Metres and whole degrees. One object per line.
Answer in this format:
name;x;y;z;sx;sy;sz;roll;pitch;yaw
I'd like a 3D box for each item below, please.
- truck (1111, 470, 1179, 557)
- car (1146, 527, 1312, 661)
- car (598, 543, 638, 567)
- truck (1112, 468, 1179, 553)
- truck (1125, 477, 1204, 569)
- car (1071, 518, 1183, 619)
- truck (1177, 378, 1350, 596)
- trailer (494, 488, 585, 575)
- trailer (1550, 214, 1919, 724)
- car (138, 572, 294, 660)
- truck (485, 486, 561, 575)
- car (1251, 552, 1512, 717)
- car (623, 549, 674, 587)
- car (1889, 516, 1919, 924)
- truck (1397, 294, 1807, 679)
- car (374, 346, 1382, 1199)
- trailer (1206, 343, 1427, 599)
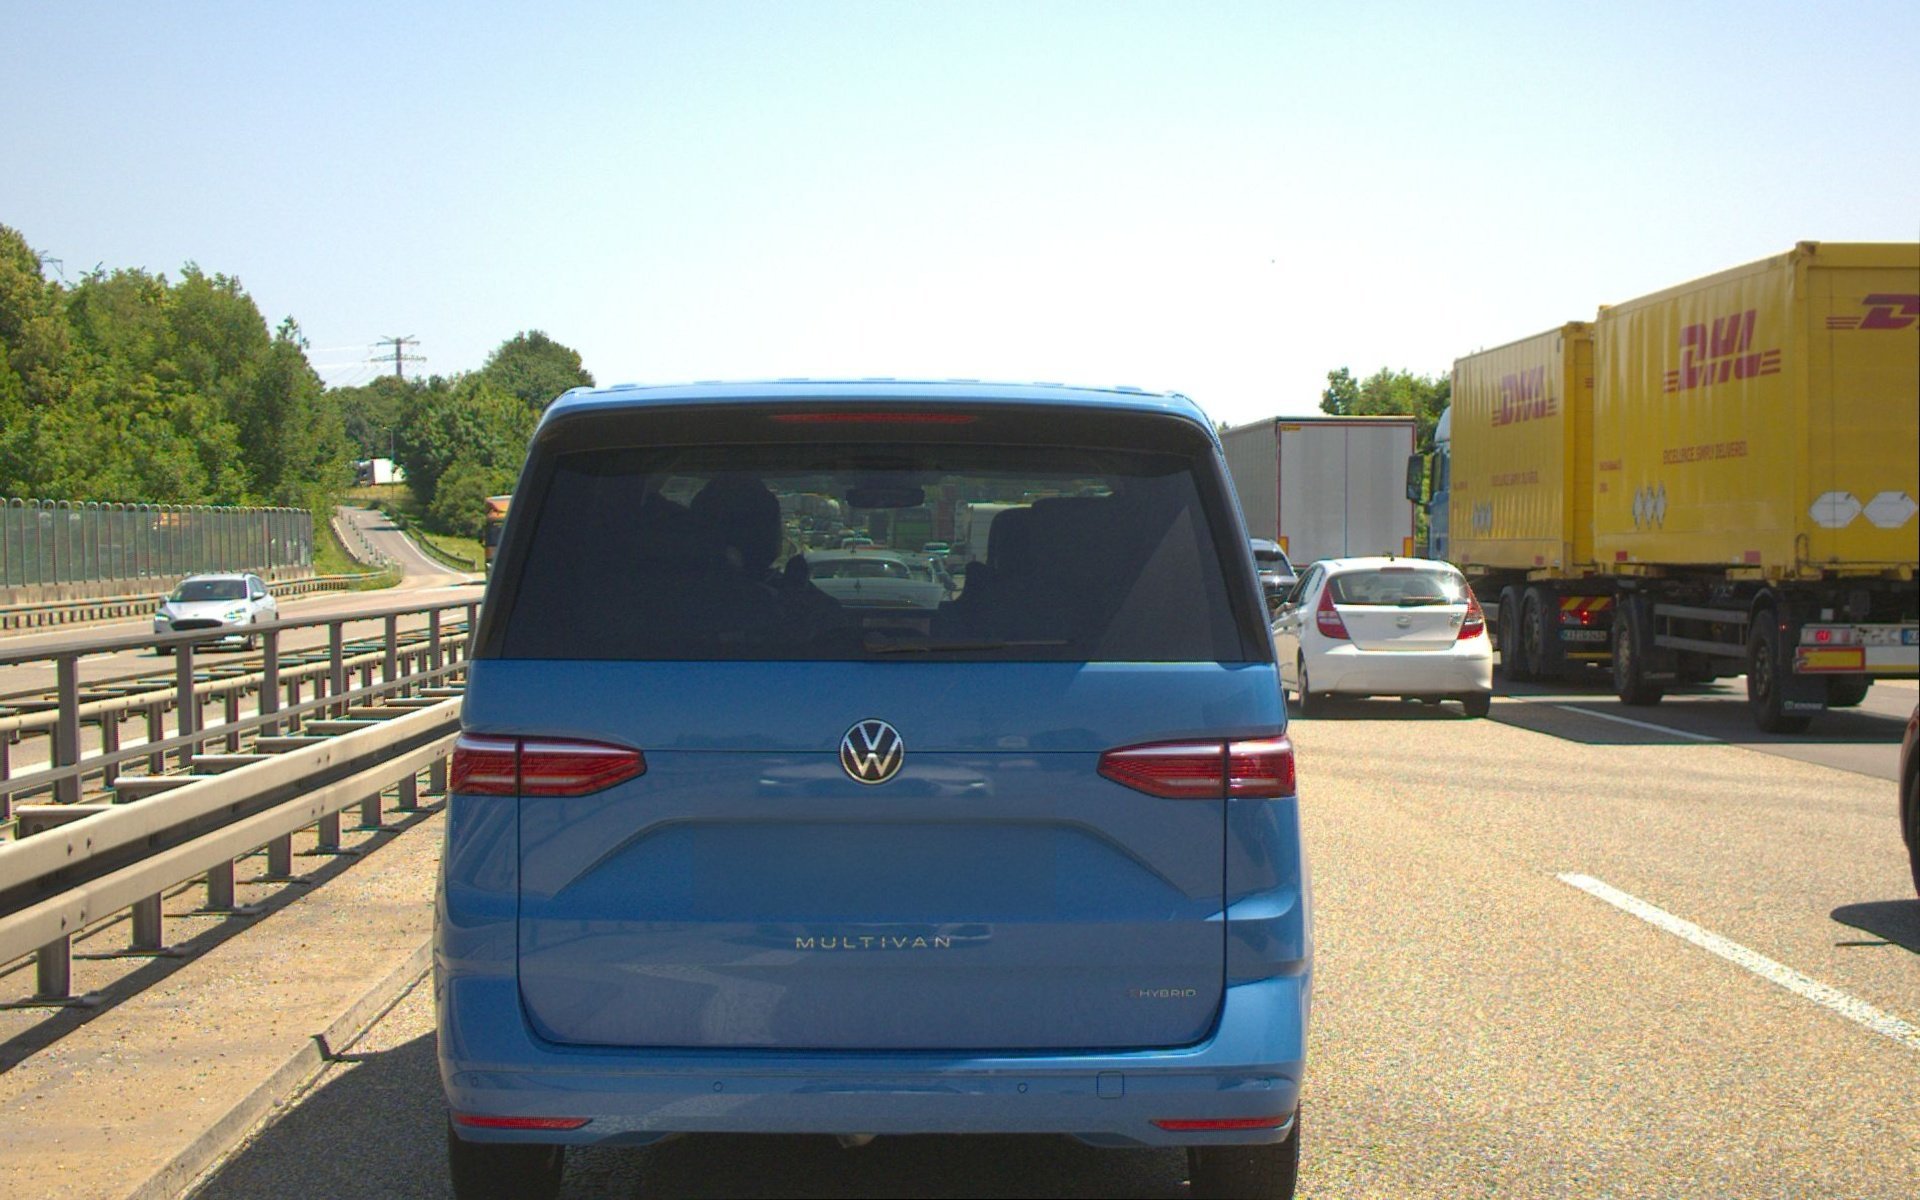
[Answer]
truck;5.556;-2.577;103.687;1.742;2.540;4.210;1;0;-1
car;3.525;-0.091;45.690;1.815;1.673;3.932;1;0;-1
car;-19.451;-2.558;195.690;1.689;1.299;4.012;-3;0;2
truck;5.851;-2.805;108.991;1.797;2.587;4.306;1;0;-1
truck;5.623;-2.090;94.959;1.798;2.441;4.504;1;0;-1
car;3.324;-0.631;69.025;1.962;1.929;3.932;1;0;-1
truck;6.721;-2.436;77.219;3.026;4.595;7.921;1;0;-1
trailer;-20.837;-3.331;171.189;2.628;4.100;14.016;-1;0;1
trailer;7.834;-1.071;32.079;2.682;4.074;8.981;1;0;-3
car;-14.049;0.273;65.131;1.993;1.539;4.386;-2;1;-1
truck;-20.901;-3.297;164.754;2.672;4.170;6.287;-1;0;1
car;3.969;0.293;32.968;1.815;1.465;3.932;1;0;-3
car;-13.067;-1.369;144.276;1.762;1.503;4.223;-1;1;0
car;4.864;0.513;12.425;1.708;1.673;4.285;1;0;-2
truck;7.495;-1.253;41.676;2.699;4.074;9.941;1;0;-2
car;-0.201;0.440;8.656;1.930;1.867;4.000;1;0;-1
trailer;6.854;-2.386;67.791;3.026;4.595;10.925;1;0;-1
